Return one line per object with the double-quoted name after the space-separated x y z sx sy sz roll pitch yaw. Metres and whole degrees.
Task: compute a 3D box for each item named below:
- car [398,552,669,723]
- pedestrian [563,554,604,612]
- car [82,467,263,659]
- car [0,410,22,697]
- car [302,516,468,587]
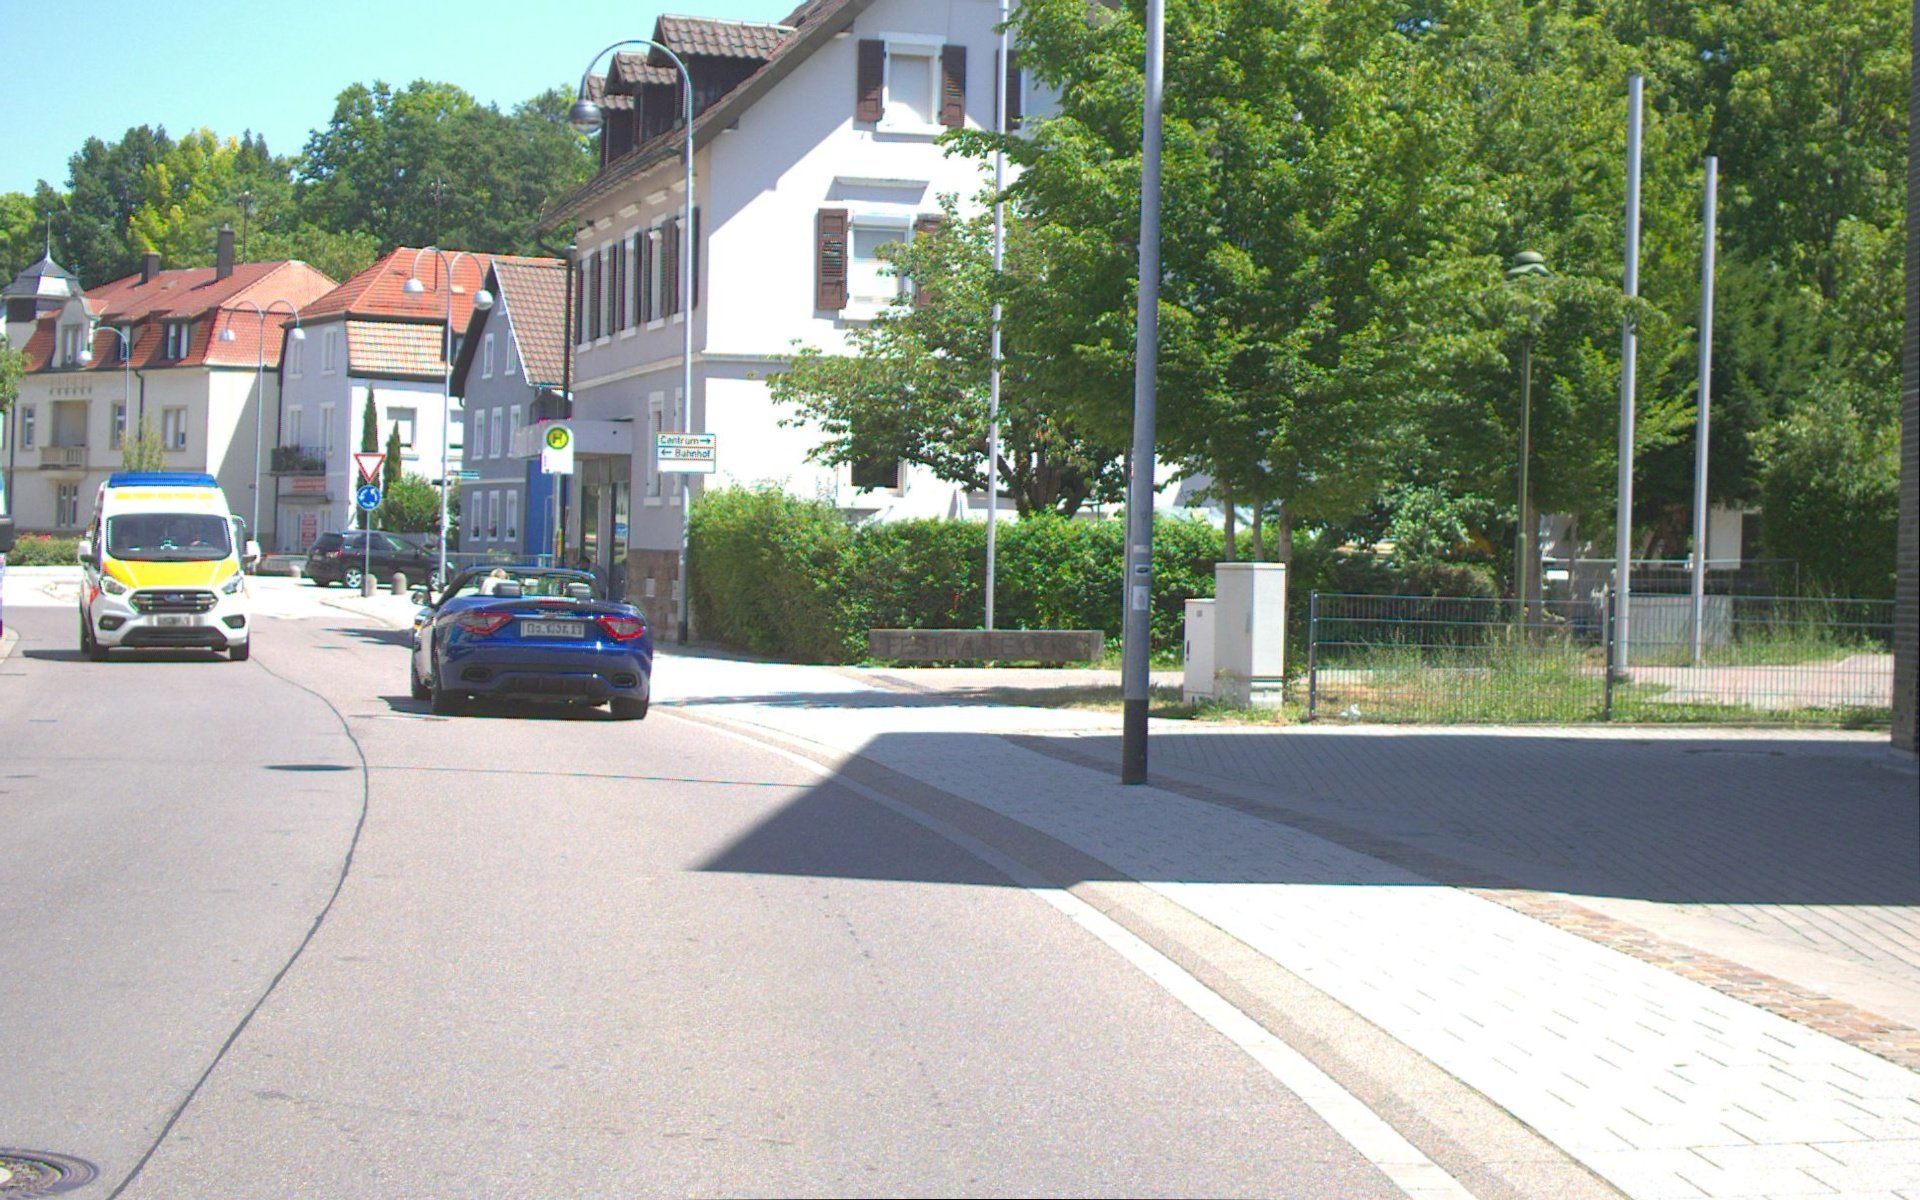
-3.964 0.296 31.358 1.910 1.356 4.287 3 0 -14 "car"
-6.571 -0.298 59.953 0.590 0.996 0.724 0 1 -16 "pedestrian"
-10.338 -0.496 44.962 2.155 2.354 5.249 0 1 -14 "car"
-9.237 -0.396 29.160 2.091 2.489 5.505 3 0 -13 "car"
-15.283 -1.290 91.488 3.987 1.744 1.919 2 0 3 "car"
